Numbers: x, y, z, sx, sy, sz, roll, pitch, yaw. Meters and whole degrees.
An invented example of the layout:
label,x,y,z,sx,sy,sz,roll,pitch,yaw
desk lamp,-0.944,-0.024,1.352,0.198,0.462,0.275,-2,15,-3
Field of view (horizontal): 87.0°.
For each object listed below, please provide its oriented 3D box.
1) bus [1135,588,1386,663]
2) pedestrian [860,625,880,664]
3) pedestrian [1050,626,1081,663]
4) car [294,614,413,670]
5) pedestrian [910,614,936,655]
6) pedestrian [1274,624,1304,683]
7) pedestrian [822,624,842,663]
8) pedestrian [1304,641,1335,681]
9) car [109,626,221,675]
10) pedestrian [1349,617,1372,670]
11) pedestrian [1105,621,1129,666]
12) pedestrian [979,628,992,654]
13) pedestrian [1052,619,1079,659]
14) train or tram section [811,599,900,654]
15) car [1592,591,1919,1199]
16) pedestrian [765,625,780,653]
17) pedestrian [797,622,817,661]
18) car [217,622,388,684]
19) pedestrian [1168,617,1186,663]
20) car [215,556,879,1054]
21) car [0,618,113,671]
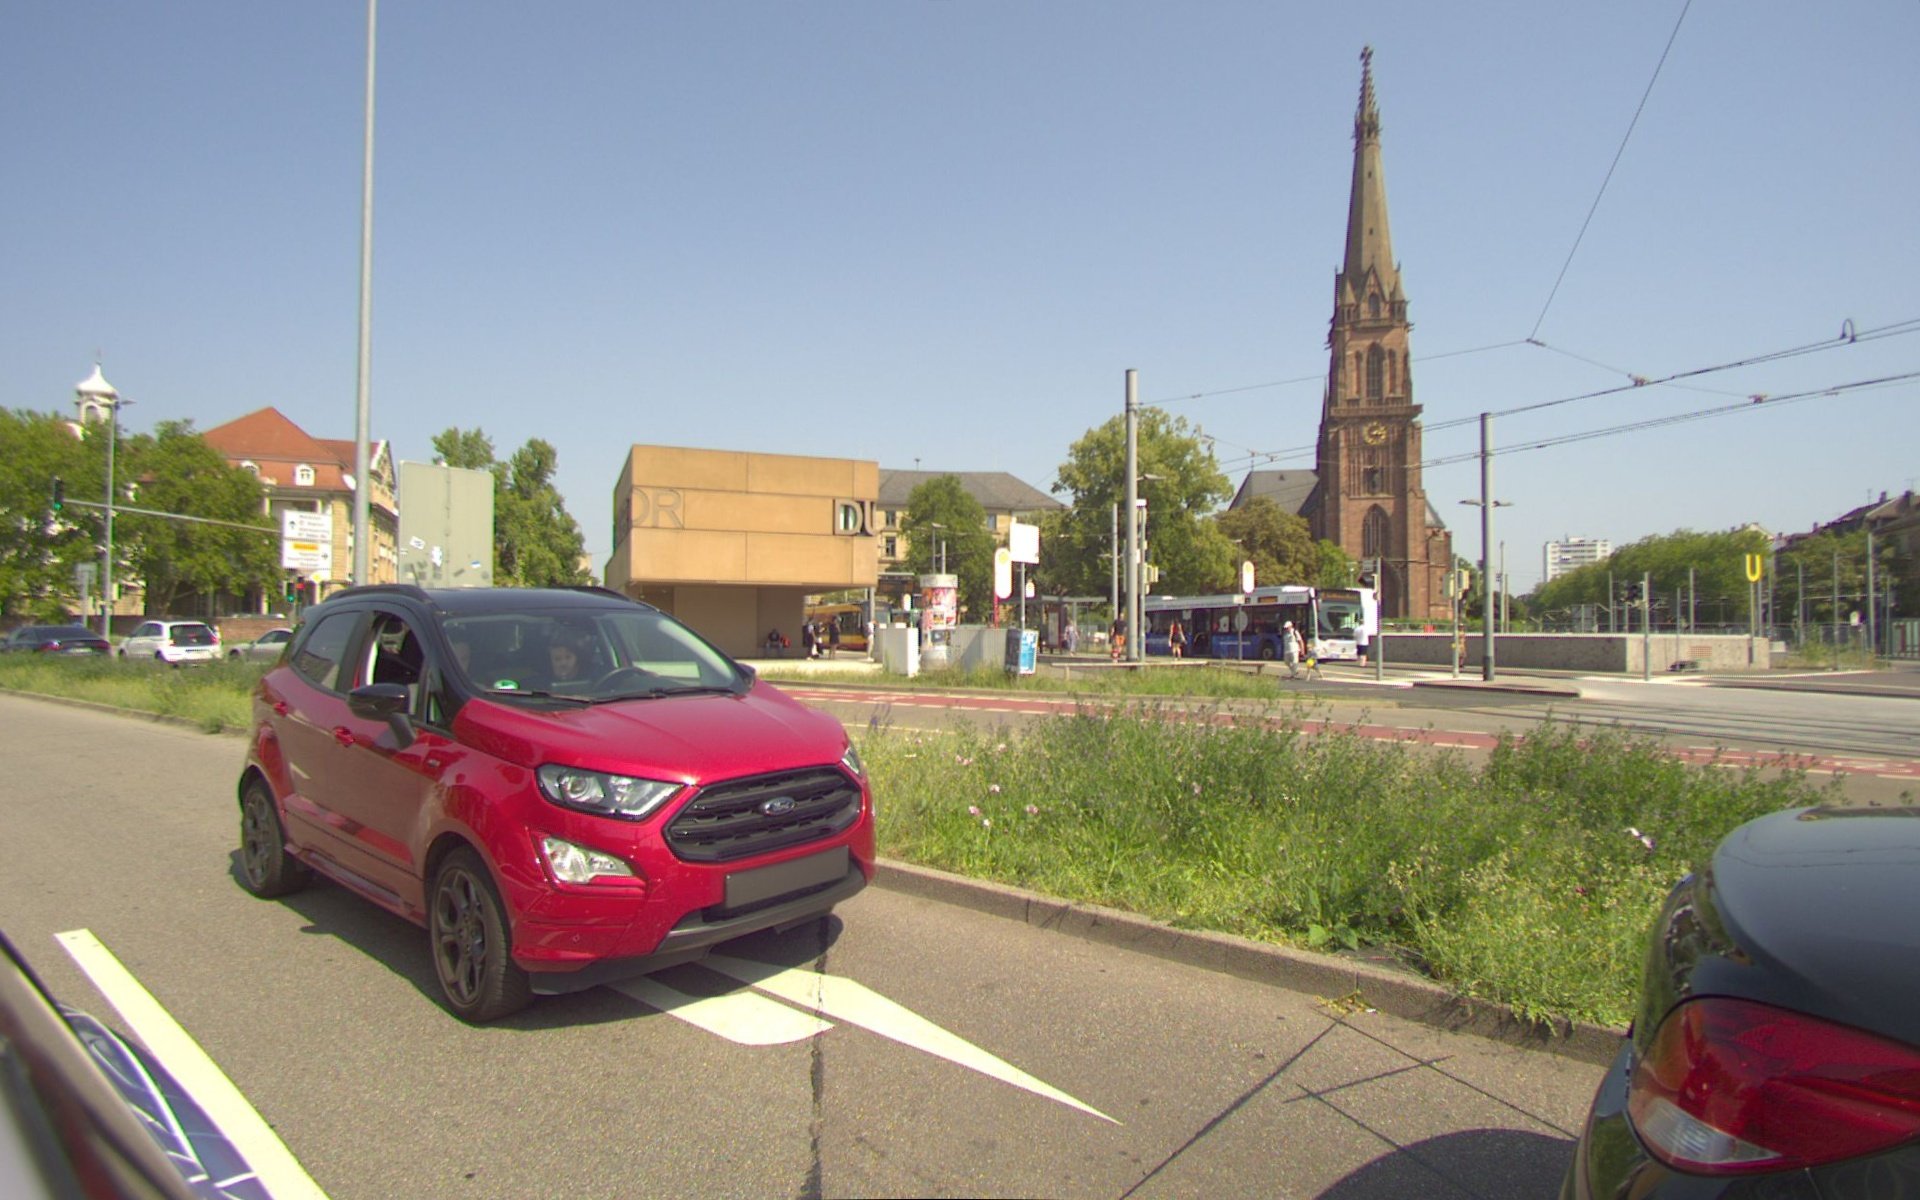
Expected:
label,x,y,z,sx,sy,sz,roll,pitch,yaw
bus,12.064,1.118,42.808,3.346,2.733,12.382,1,-2,-21
pedestrian,-3.532,1.737,39.782,0.541,1.508,0.532,-1,-3,39
pedestrian,4.857,2.035,46.684,1.060,1.709,1.068,1,-2,-21
car,-21.309,1.426,35.541,3.898,1.868,1.851,0,-2,29
pedestrian,-1.374,1.281,37.379,0.605,1.508,0.761,-1,-3,39
pedestrian,9.780,1.589,30.083,0.681,1.724,0.537,1,-2,-34
pedestrian,-5.054,1.712,39.915,0.541,1.508,0.532,-1,-3,39
pedestrian,10.608,1.798,29.867,0.592,1.134,0.640,-1,0,-34
car,-25.366,1.577,32.297,3.460,1.490,1.512,-1,-2,27
pedestrian,14.246,1.532,35.977,0.636,1.825,0.595,-1,0,33
pedestrian,6.451,1.782,41.638,0.792,1.837,0.535,1,-2,-21
pedestrian,1.407,2.235,54.974,0.546,1.405,0.535,1,-2,-21
pedestrian,4.876,1.809,46.708,0.913,1.837,0.940,1,-2,-21
train or tram section,-7.575,1.888,70.852,2.658,3.465,13.464,1,-2,-21
car,2.682,0.655,0.431,1.745,1.398,3.783,0,-1,-45
pedestrian,-7.518,1.567,40.606,0.530,1.108,0.543,1,-2,-18
pedestrian,-5.900,1.599,39.031,0.541,1.508,0.532,-1,-3,39
car,-18.347,1.429,28.209,4.693,1.597,1.981,-1,-2,28
pedestrian,8.833,1.613,41.181,0.632,1.825,0.599,-1,0,16
car,-2.344,0.691,5.182,3.844,1.598,1.672,-2,-1,43
car,-25.804,1.248,28.871,3.466,1.437,1.510,-1,-2,32
